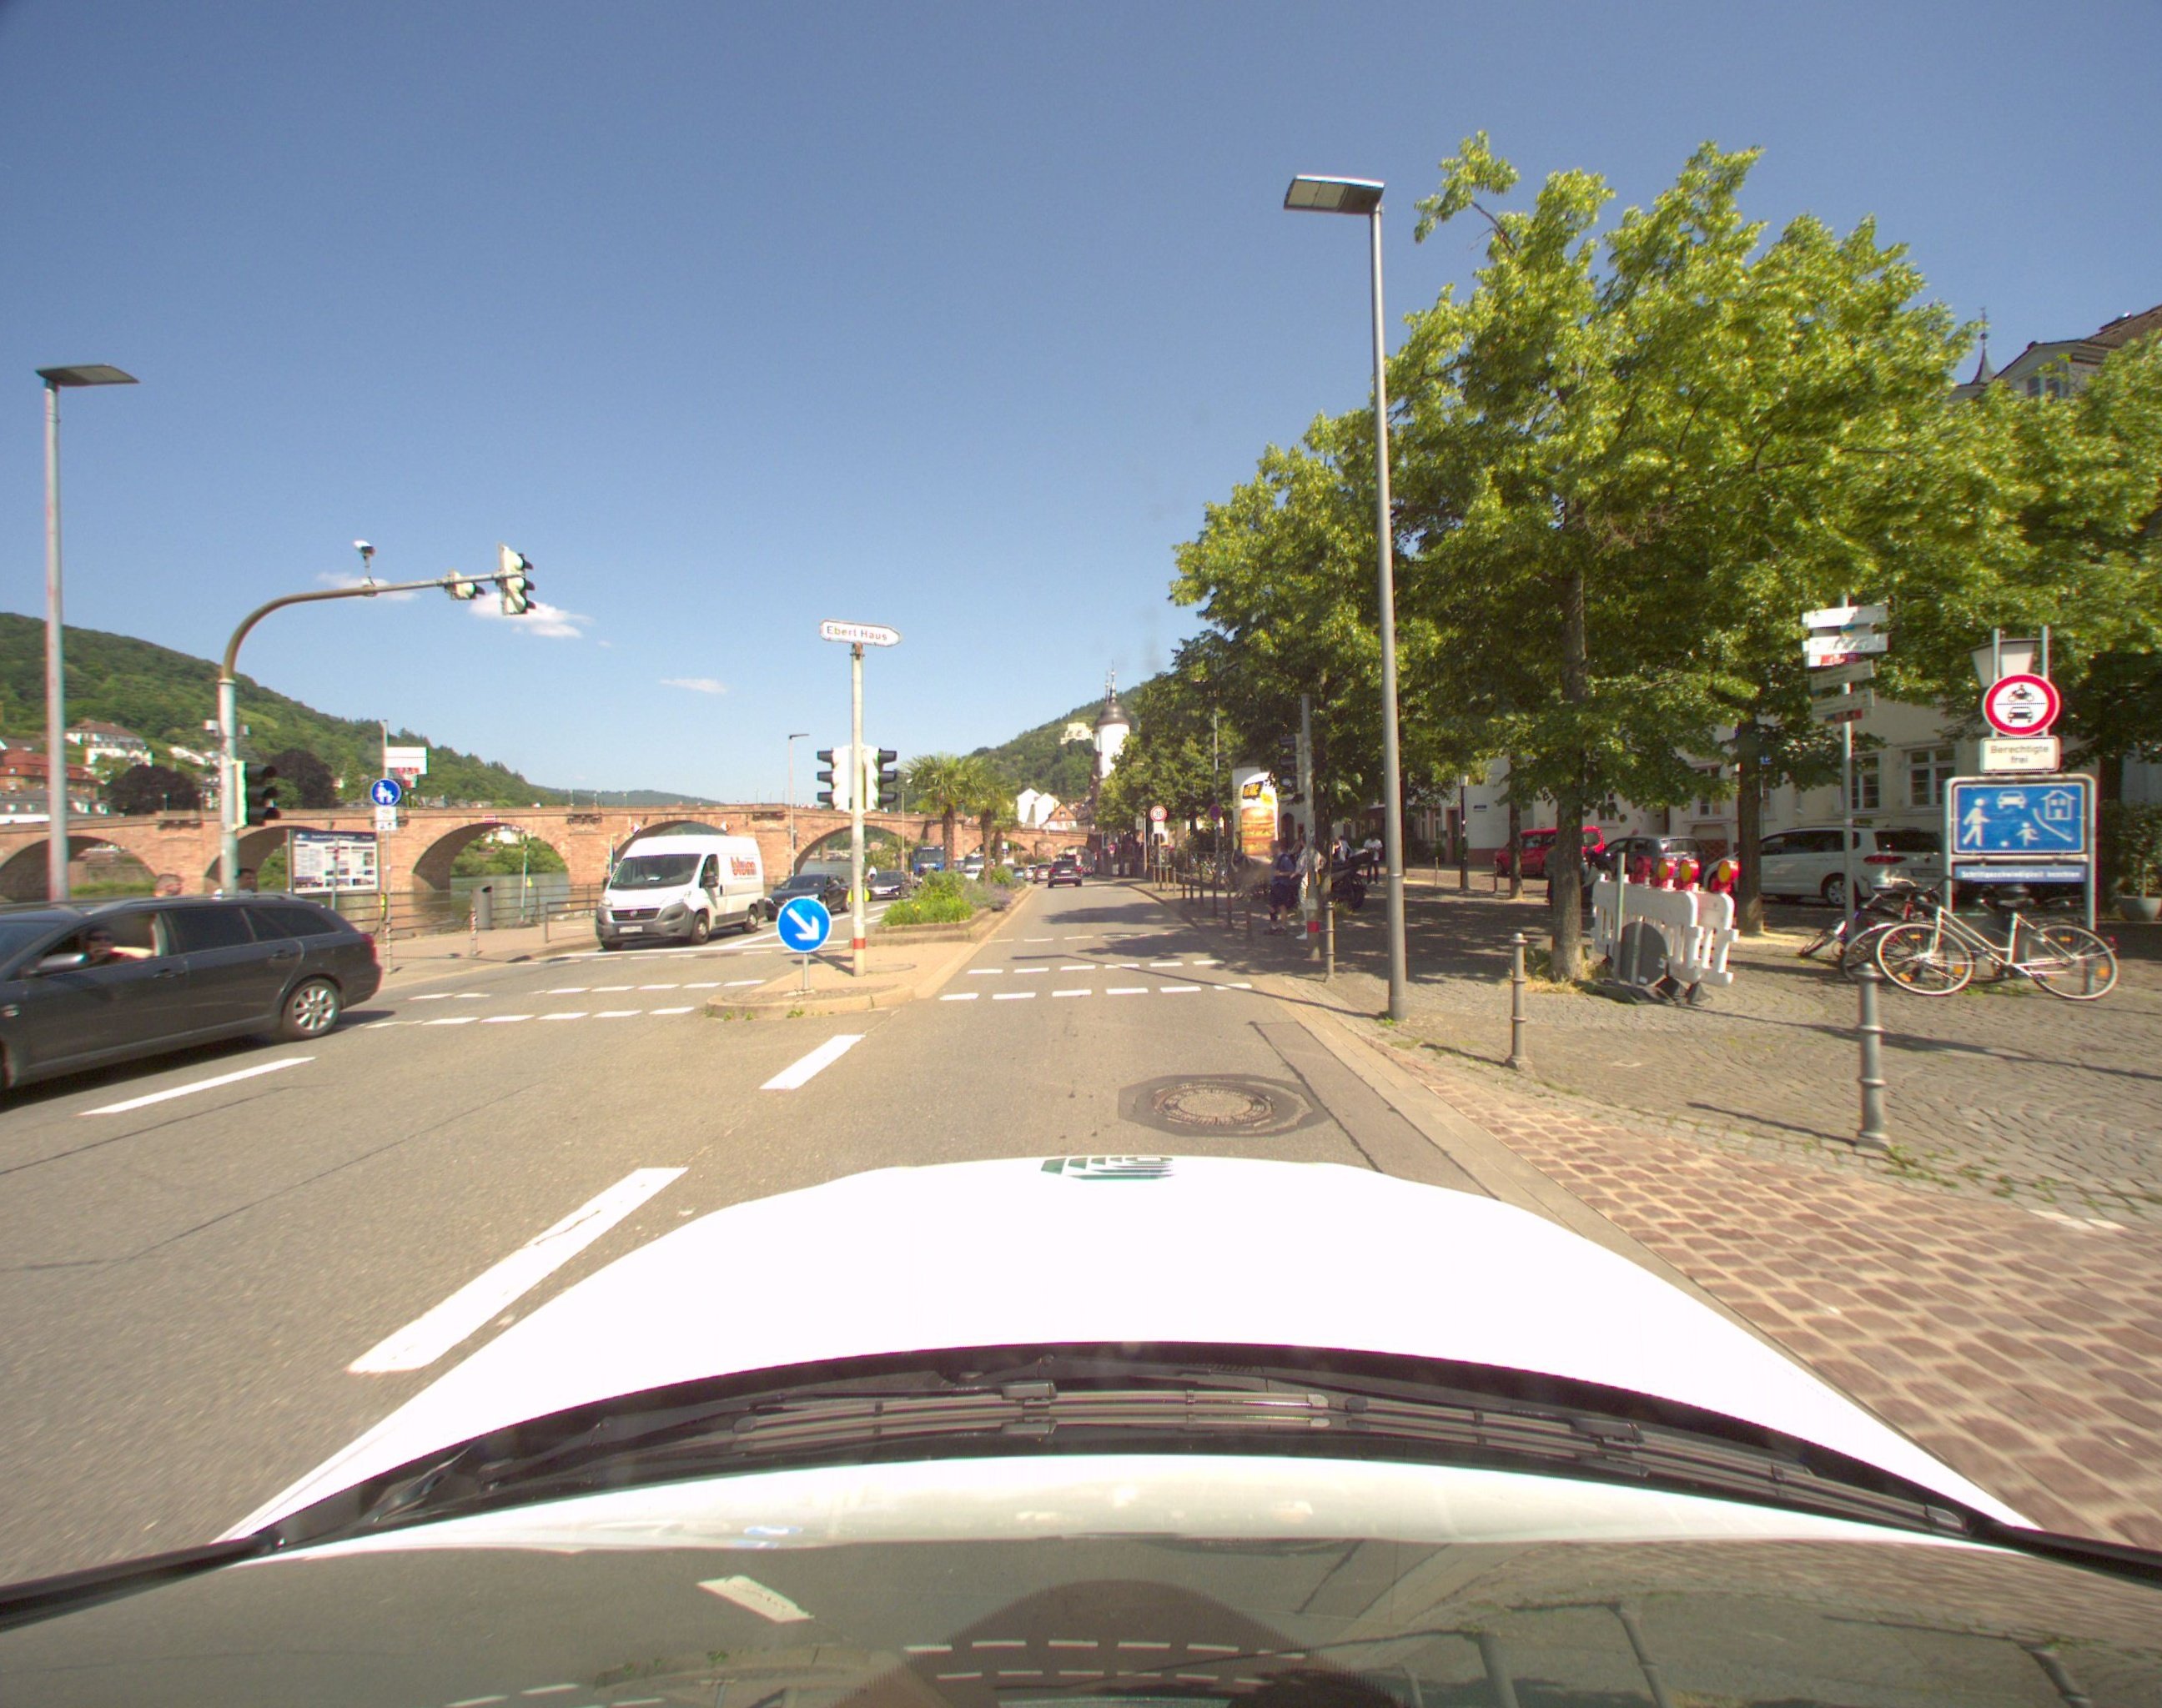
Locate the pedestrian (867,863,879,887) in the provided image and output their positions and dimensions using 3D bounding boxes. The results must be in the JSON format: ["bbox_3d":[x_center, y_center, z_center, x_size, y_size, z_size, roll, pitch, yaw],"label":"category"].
[{"bbox_3d":[-15.986,1.627,62.586,0.761,1.780,0.694,-1,0,-9],"label":"pedestrian"}]

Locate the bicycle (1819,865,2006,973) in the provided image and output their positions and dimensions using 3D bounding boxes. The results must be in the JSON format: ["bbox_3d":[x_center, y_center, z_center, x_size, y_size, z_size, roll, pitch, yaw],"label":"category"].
[{"bbox_3d":[9.458,0.686,9.387,0.589,1.067,2.075,-2,0,18],"label":"bicycle"}]

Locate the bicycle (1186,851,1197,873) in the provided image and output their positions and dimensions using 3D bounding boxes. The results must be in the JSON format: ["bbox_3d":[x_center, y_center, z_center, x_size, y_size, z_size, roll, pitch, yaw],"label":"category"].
[{"bbox_3d":[5.074,0.372,37.413,0.249,1.000,1.487,0,0,-3],"label":"bicycle"}]

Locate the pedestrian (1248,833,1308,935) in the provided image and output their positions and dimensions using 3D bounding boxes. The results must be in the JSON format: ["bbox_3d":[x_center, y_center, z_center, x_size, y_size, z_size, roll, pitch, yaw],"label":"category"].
[{"bbox_3d":[3.375,0.501,14.017,0.693,1.677,0.762,-3,0,-9],"label":"pedestrian"}]

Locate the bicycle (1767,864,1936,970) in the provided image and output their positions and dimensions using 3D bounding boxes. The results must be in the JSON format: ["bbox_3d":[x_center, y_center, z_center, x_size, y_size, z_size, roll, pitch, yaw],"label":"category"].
[{"bbox_3d":[8.992,0.681,9.620,0.589,1.067,2.075,-2,0,18],"label":"bicycle"}]

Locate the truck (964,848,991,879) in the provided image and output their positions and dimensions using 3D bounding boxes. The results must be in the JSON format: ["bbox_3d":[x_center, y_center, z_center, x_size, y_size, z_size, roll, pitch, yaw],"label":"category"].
[{"bbox_3d":[-11.850,1.102,93.917,2.652,3.403,5.128,-1,0,-4],"label":"truck"}]

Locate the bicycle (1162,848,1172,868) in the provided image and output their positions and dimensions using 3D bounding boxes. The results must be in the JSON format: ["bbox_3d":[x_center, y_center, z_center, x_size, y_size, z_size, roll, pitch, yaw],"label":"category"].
[{"bbox_3d":[4.740,0.209,45.016,0.344,1.096,1.488,0,0,-1],"label":"bicycle"}]

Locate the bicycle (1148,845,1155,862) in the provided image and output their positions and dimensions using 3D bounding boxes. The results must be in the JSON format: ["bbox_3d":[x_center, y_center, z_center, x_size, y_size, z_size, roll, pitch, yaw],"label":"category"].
[{"bbox_3d":[4.589,-0.004,52.915,0.249,1.096,1.488,0,0,-1],"label":"bicycle"}]

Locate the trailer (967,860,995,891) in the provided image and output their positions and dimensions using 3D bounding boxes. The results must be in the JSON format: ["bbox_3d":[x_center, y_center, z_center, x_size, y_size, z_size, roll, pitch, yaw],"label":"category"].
[{"bbox_3d":[-12.147,2.484,99.397,2.652,3.403,10.155,-1,0,-3],"label":"trailer"}]

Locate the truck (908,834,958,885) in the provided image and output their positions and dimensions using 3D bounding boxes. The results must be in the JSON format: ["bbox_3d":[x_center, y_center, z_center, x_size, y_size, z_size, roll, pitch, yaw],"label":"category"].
[{"bbox_3d":[-10.318,0.345,57.199,2.650,3.403,4.448,-1,0,-1],"label":"truck"}]

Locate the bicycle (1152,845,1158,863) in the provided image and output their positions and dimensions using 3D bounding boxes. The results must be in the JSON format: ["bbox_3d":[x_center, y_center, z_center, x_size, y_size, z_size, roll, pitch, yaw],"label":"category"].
[{"bbox_3d":[4.630,0.012,50.989,0.249,1.096,1.488,0,0,-1],"label":"bicycle"}]

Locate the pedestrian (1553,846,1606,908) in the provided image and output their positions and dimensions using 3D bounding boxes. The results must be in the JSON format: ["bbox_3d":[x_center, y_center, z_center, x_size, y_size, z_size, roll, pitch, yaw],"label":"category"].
[{"bbox_3d":[10.529,0.479,17.214,0.625,1.281,0.752,1,0,-9],"label":"pedestrian"}]

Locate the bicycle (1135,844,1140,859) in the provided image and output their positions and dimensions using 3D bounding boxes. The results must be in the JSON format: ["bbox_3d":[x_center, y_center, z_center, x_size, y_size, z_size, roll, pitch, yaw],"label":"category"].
[{"bbox_3d":[4.406,-0.184,63.621,0.354,1.096,1.490,0,0,4],"label":"bicycle"}]

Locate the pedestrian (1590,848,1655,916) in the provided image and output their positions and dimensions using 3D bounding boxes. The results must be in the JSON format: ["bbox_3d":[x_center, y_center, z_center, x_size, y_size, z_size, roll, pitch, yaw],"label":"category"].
[{"bbox_3d":[10.426,0.529,15.693,0.693,1.252,0.762,-2,0,-9],"label":"pedestrian"}]

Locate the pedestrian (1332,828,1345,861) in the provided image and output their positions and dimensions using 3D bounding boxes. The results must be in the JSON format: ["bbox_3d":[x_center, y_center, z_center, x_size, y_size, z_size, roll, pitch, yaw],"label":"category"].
[{"bbox_3d":[15.635,-0.565,49.459,0.584,2.013,0.596,-2,0,-2],"label":"pedestrian"}]

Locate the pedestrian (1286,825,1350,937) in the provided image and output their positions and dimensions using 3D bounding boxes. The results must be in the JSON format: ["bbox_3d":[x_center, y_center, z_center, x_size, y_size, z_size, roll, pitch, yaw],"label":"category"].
[{"bbox_3d":[3.917,0.434,13.498,0.693,1.771,0.762,-3,0,-9],"label":"pedestrian"}]

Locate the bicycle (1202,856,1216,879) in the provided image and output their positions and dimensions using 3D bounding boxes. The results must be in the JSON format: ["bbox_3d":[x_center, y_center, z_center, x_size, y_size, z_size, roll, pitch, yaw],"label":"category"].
[{"bbox_3d":[5.157,0.523,32.816,0.249,0.904,1.487,-2,0,-3],"label":"bicycle"}]

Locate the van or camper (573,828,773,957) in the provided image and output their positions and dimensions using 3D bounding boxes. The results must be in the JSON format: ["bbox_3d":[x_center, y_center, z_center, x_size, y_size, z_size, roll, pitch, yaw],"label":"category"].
[{"bbox_3d":[-9.124,0.790,18.877,1.989,2.450,5.488,-3,-1,-3],"label":"van or camper"}]

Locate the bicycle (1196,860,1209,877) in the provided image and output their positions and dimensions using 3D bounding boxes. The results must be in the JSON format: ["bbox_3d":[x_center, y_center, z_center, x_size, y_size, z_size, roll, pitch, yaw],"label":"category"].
[{"bbox_3d":[5.126,0.614,34.369,0.249,0.664,1.468,-2,0,-3],"label":"bicycle"}]

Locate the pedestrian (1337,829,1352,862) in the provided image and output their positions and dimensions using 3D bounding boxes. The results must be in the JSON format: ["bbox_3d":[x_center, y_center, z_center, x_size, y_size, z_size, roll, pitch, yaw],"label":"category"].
[{"bbox_3d":[15.073,-0.489,46.585,0.584,1.840,0.596,-2,0,-2],"label":"pedestrian"}]

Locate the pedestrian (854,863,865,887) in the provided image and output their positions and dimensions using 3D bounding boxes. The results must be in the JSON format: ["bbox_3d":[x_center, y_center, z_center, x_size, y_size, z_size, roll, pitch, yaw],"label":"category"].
[{"bbox_3d":[-17.000,1.611,62.508,0.761,1.780,0.694,-1,0,-9],"label":"pedestrian"}]

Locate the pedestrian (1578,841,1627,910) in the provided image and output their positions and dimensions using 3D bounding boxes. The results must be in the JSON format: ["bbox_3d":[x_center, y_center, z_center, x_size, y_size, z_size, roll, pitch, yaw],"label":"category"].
[{"bbox_3d":[10.564,0.428,16.508,0.625,1.382,0.540,1,0,-9],"label":"pedestrian"}]

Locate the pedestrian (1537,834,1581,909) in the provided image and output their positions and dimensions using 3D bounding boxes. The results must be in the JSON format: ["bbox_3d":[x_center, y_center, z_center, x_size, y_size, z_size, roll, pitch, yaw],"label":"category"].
[{"bbox_3d":[9.904,0.357,16.887,0.459,1.517,0.688,0,0,-9],"label":"pedestrian"}]

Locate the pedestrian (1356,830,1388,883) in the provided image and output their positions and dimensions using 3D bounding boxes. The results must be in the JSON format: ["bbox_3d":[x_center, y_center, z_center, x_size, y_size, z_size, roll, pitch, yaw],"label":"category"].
[{"bbox_3d":[9.270,0.086,25.956,0.705,1.653,0.706,-2,0,-2],"label":"pedestrian"}]

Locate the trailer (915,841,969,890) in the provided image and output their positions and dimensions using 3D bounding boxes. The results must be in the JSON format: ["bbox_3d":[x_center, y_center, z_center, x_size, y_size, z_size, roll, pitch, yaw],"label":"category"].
[{"bbox_3d":[-10.362,0.777,61.566,2.650,3.403,8.823,-1,0,-1],"label":"trailer"}]

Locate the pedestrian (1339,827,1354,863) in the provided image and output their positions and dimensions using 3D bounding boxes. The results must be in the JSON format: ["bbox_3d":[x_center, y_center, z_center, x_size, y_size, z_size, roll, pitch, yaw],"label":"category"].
[{"bbox_3d":[15.430,-0.526,47.303,0.633,2.013,0.644,-2,0,-1],"label":"pedestrian"}]

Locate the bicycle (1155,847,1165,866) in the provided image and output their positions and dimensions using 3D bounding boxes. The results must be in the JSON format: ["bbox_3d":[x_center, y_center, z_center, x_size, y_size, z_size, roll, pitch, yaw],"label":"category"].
[{"bbox_3d":[4.712,0.121,48.586,0.274,1.096,1.488,-6,0,-1],"label":"bicycle"}]

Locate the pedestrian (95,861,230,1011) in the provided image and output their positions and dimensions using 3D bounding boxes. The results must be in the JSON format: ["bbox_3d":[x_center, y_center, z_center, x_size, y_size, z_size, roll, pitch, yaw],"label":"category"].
[{"bbox_3d":[-11.572,1.006,10.293,0.693,1.780,0.762,4,-1,-9],"label":"pedestrian"}]

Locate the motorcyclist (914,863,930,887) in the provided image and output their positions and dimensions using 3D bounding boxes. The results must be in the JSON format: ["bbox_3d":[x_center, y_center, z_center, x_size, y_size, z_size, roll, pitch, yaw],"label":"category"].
[{"bbox_3d":[-9.733,1.278,49.821,0.733,1.470,1.012,-1,0,2],"label":"motorcyclist"}]

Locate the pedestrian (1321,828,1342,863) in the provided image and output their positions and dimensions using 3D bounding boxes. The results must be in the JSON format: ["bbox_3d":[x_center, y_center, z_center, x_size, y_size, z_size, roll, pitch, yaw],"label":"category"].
[{"bbox_3d":[14.277,-0.483,46.430,0.965,1.915,0.747,-1,0,-1],"label":"pedestrian"}]

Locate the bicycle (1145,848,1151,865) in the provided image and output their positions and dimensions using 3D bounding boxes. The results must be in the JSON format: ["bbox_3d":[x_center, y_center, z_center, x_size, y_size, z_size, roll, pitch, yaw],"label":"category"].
[{"bbox_3d":[4.525,0.172,55.002,0.249,1.096,1.488,0,0,-1],"label":"bicycle"}]

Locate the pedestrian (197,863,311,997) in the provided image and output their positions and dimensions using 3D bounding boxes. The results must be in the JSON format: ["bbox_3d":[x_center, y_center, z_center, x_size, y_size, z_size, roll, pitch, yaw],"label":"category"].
[{"bbox_3d":[-11.606,1.046,11.462,0.693,1.780,0.762,4,-1,-9],"label":"pedestrian"}]
